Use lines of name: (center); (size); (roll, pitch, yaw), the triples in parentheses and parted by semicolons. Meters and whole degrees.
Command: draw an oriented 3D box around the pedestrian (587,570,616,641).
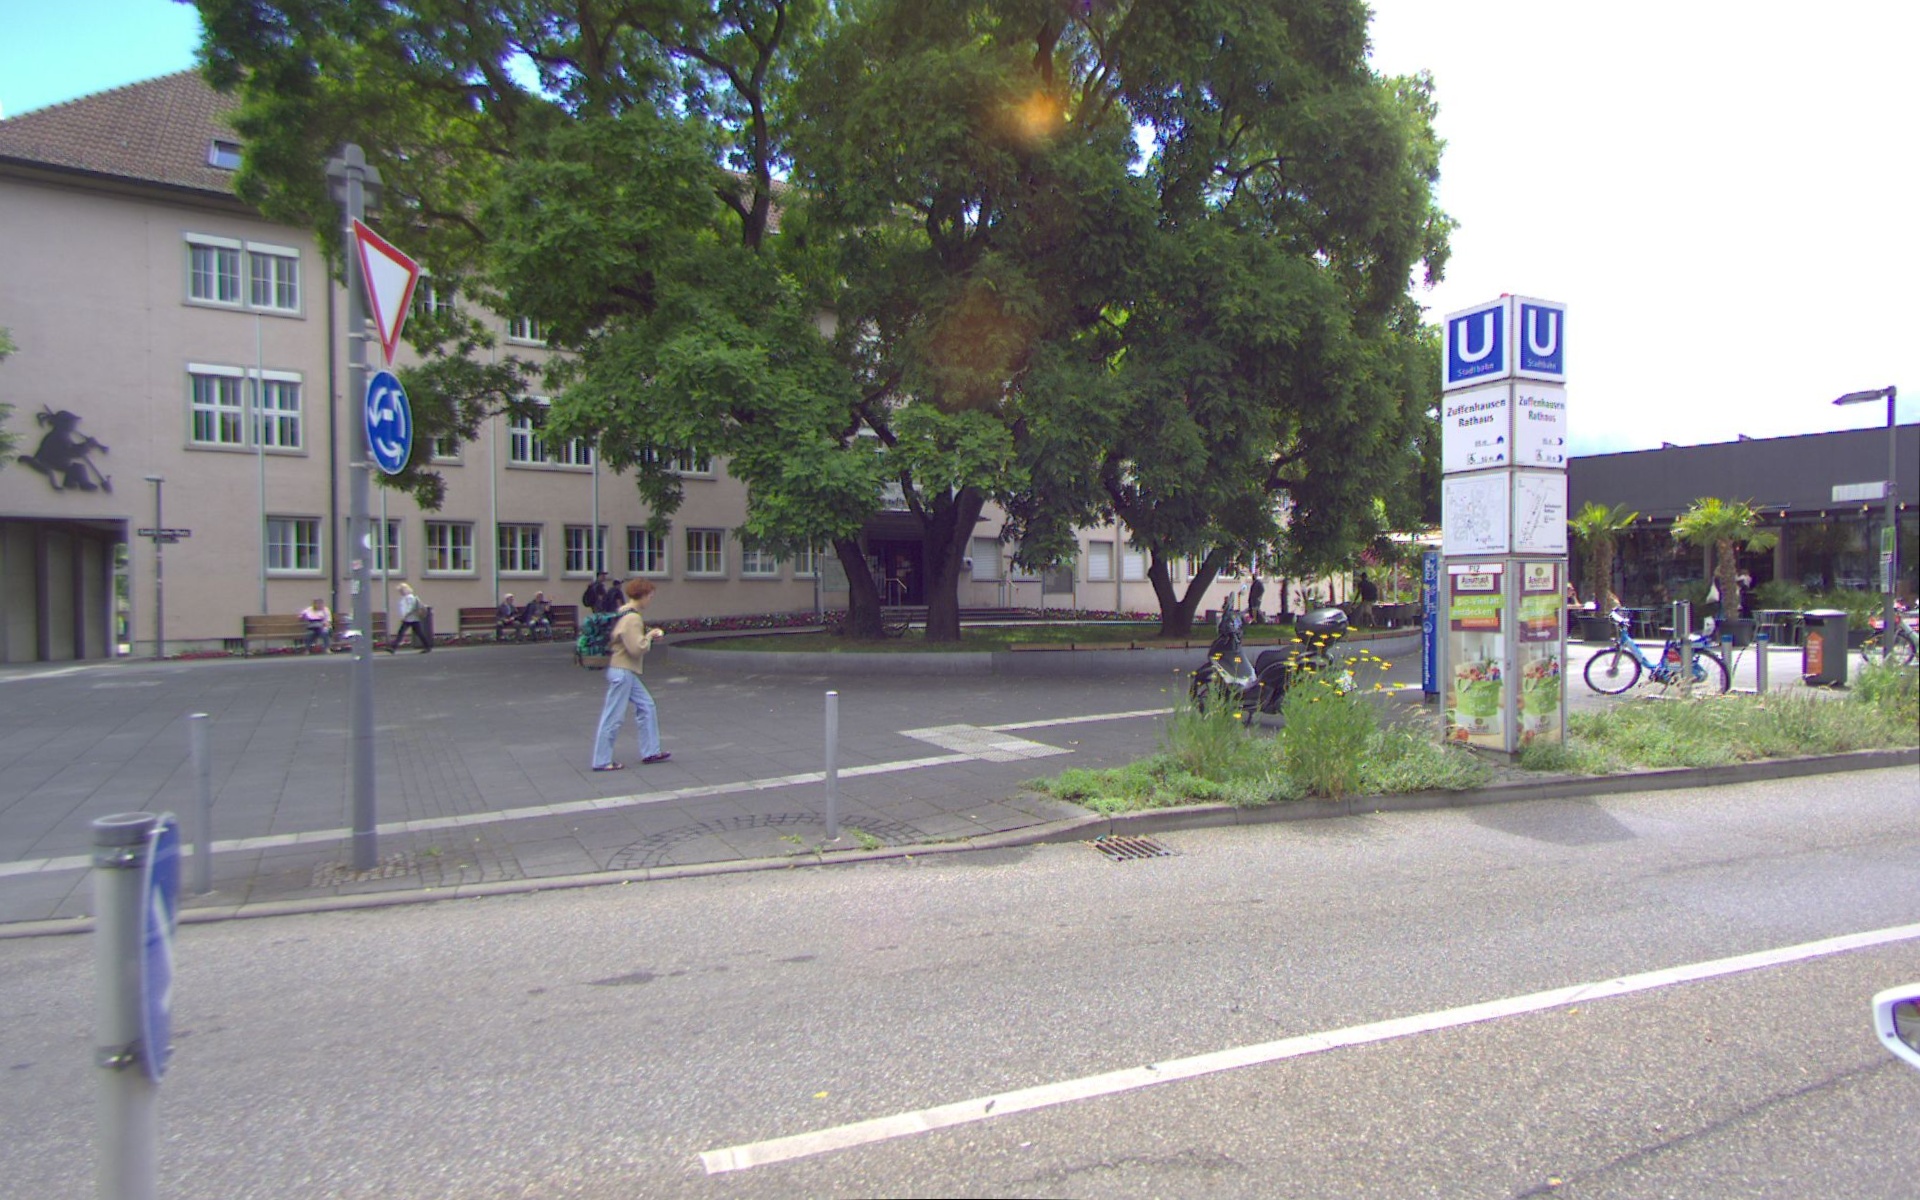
pedestrian: (-8.401, 0.134, 23.530); (0.564, 1.630, 0.436); (1, 3, -13)

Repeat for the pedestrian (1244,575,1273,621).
pedestrian: (10.932, -0.068, 36.803); (0.629, 1.649, 0.782); (0, -1, -29)

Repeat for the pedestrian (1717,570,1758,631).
pedestrian: (19.460, 0.019, 25.154); (0.606, 1.483, 0.580); (0, 0, -20)

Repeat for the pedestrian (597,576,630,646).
pedestrian: (-7.939, 0.246, 23.035); (0.627, 1.544, 0.575); (1, 3, -13)

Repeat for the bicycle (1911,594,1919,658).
bicycle: (17.054, 0.446, 16.807); (0.571, 1.105, 1.562); (1, 0, -27)

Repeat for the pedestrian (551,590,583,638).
pedestrian: (-10.254, 0.363, 26.197); (0.478, 1.238, 0.581); (1, -1, 19)

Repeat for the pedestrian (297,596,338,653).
pedestrian: (-14.699, 0.562, 22.999); (0.691, 1.278, 0.577); (2, -1, -25)

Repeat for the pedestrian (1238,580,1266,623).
pedestrian: (11.003, 0.051, 37.841); (0.629, 1.598, 0.782); (0, -1, -29)

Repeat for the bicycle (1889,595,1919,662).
bicycle: (16.287, 0.474, 16.390); (0.571, 1.105, 1.562); (1, 0, -27)

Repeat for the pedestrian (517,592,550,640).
pedestrian: (-10.859, 0.412, 25.556); (0.478, 1.198, 0.581); (1, -1, 19)

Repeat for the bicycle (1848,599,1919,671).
bicycle: (14.892, 0.537, 15.601); (0.571, 1.105, 1.562); (1, 0, -27)

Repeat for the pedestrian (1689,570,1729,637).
pedestrian: (18.561, 0.083, 24.902); (0.571, 1.640, 0.616); (0, 0, 7)

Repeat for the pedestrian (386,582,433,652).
pedestrian: (-12.156, 0.370, 22.166); (0.807, 1.512, 0.693); (2, -1, -36)

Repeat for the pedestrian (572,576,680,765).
pedestrian: (-2.863, 0.569, 8.604); (0.778, 1.535, 0.548); (-2, 2, -27)

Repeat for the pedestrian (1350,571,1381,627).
pedestrian: (11.641, -0.024, 28.814); (0.576, 1.598, 0.611); (1, -1, -32)

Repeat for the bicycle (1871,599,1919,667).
bicycle: (15.586, 0.524, 15.958); (0.532, 1.083, 1.562); (1, 0, -27)

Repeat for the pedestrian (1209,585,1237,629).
pedestrian: (9.683, 0.249, 36.964); (0.778, 1.598, 0.632); (0, -1, -28)

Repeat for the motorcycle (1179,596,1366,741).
motorcycle: (3.168, 0.636, 10.434); (0.575, 1.307, 2.125); (-2, 2, -25)

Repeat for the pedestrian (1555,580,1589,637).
pedestrian: (15.356, 0.214, 25.198); (0.611, 1.398, 0.576); (1, -1, -40)

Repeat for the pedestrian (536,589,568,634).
pedestrian: (-10.684, 0.301, 26.331); (0.479, 1.178, 0.580); (1, -1, 28)

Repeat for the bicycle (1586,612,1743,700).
bicycle: (8.779, 0.668, 12.583); (0.493, 1.010, 1.608); (1, 0, -21)
